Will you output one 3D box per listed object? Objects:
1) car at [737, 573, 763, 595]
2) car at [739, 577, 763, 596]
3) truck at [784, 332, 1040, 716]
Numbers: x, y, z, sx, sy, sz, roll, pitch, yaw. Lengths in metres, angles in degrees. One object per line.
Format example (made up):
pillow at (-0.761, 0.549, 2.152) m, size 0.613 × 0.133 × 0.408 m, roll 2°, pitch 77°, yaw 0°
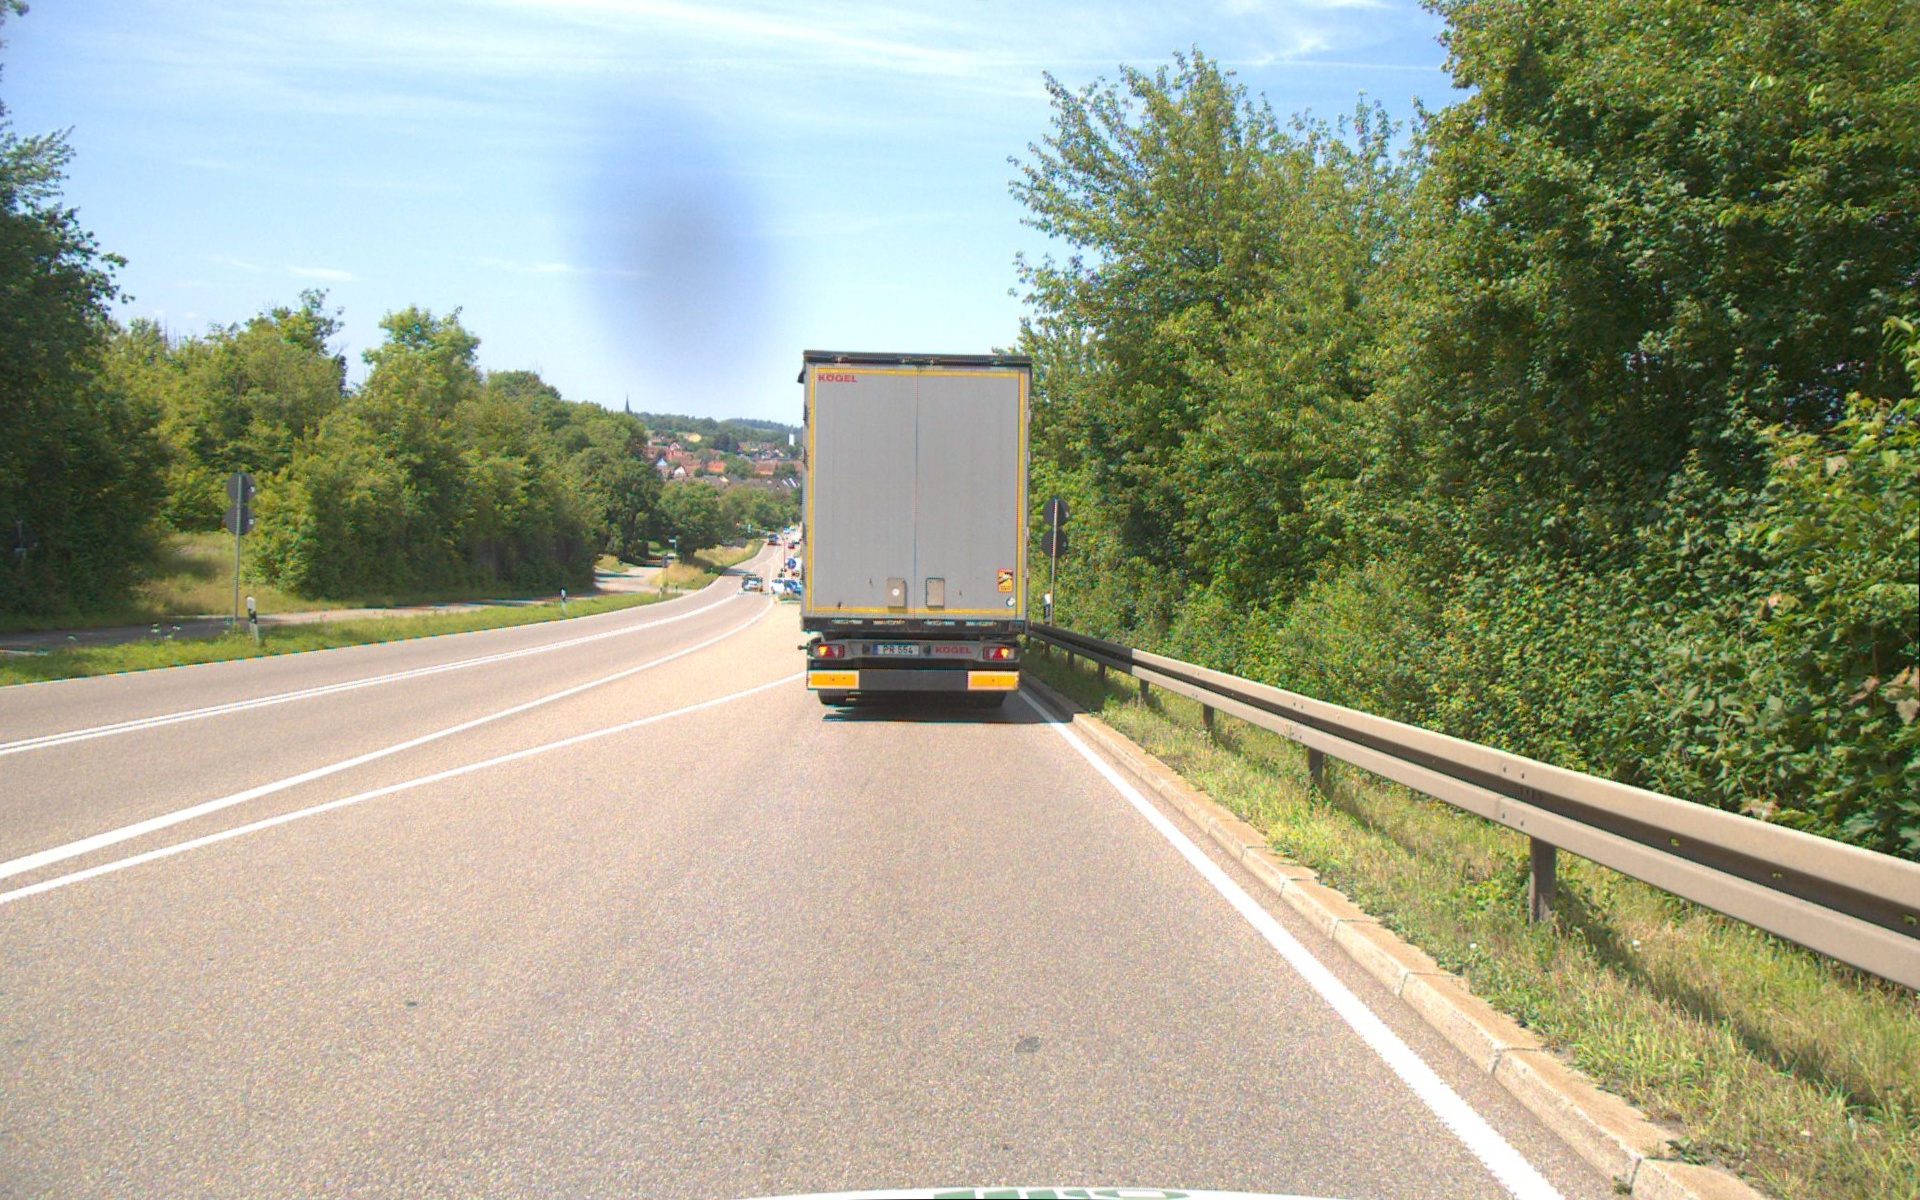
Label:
car at (-19.435, -1.443, 153.274) m, size 1.736 × 1.959 × 3.730 m, roll 1°, pitch 0°, yaw -18°
car at (-20.961, -1.359, 165.603) m, size 1.776 × 1.825 × 3.825 m, roll 1°, pitch 0°, yaw -16°
truck at (-0.632, -0.874, 23.803) m, size 2.701 × 4.100 × 11.921 m, roll 1°, pitch 1°, yaw -1°
